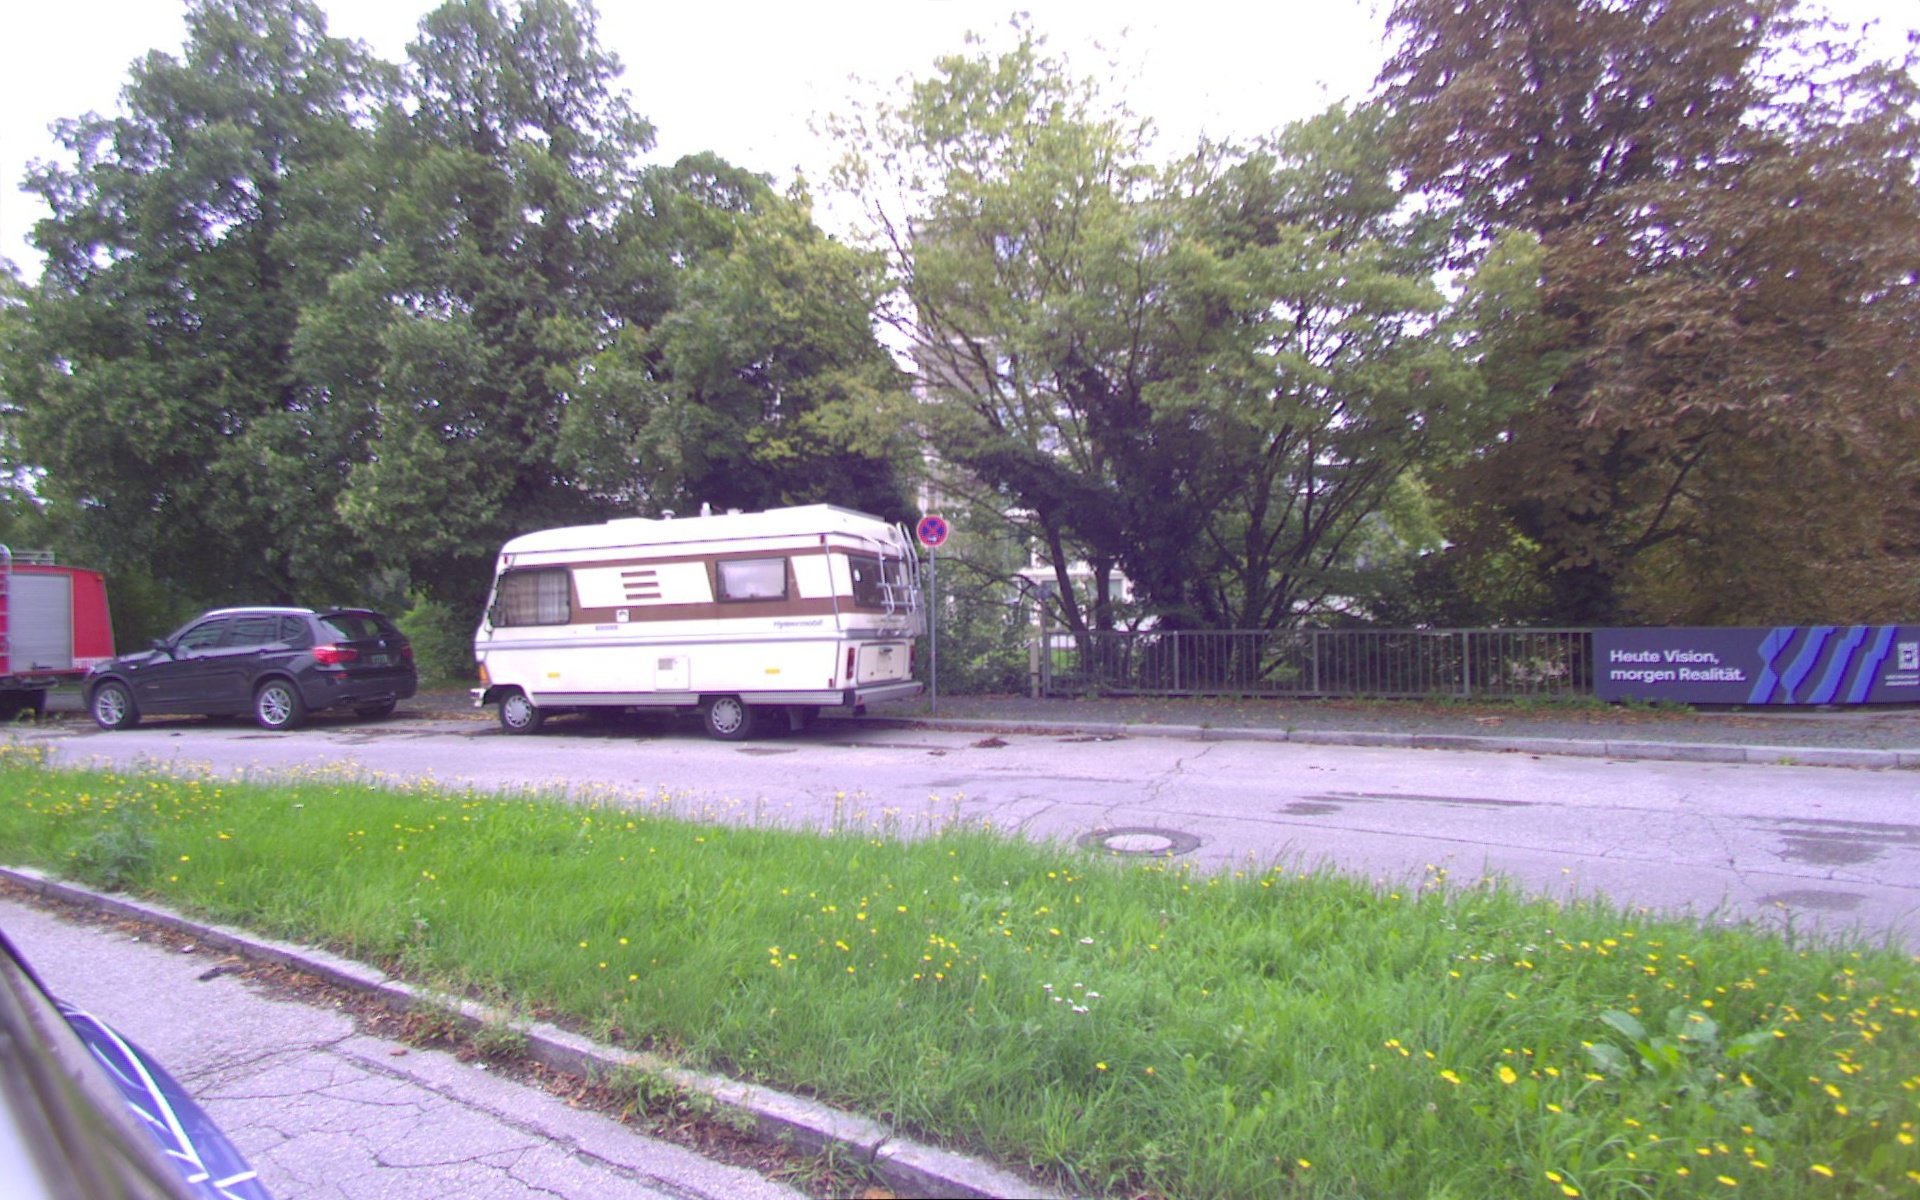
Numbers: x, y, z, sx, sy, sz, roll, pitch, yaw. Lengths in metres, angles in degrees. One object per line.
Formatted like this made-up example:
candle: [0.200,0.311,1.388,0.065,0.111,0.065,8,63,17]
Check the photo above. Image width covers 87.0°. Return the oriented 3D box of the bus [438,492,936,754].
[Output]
bus: [-3.363,0.331,12.567,5.690,2.719,2.307,-1,-2,20]

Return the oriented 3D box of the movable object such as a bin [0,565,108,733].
movable object such as a bin: [-17.020,0.795,16.117,6.126,2.477,2.101,-1,-2,14]

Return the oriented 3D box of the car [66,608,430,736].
car: [-10.168,1.009,14.557,4.414,1.662,1.775,-1,-2,12]
